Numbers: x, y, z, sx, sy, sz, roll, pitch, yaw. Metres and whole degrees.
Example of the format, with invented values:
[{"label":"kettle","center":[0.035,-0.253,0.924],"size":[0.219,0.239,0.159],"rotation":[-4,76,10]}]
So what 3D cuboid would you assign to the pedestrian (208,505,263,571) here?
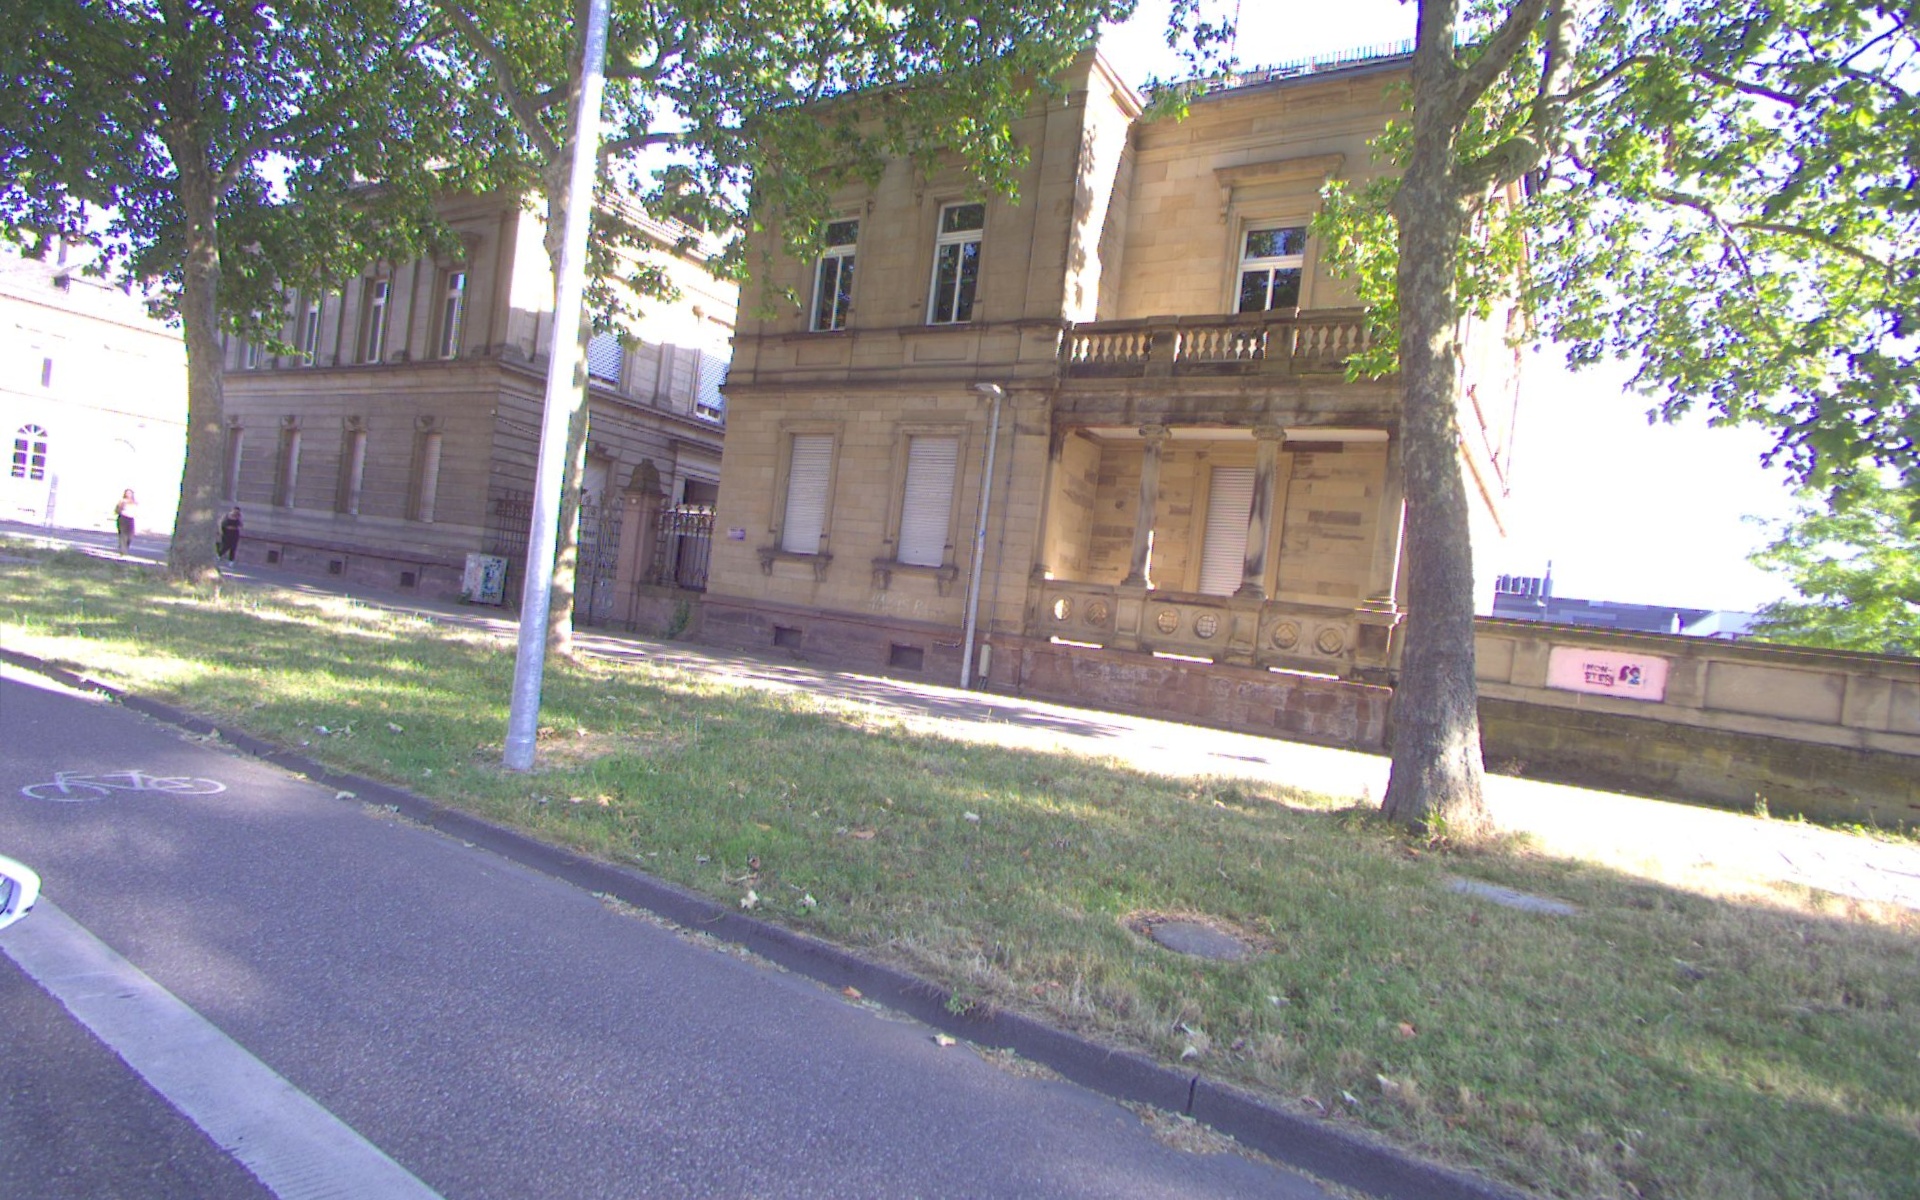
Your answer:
[{"label":"pedestrian","center":[-19.317,-1.650,26.827],"size":[0.970,1.626,0.770],"rotation":[7,1,34]}]

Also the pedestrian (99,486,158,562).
[{"label":"pedestrian","center":[-20.728,-1.888,25.076],"size":[1.025,1.731,0.770],"rotation":[7,1,34]}]
